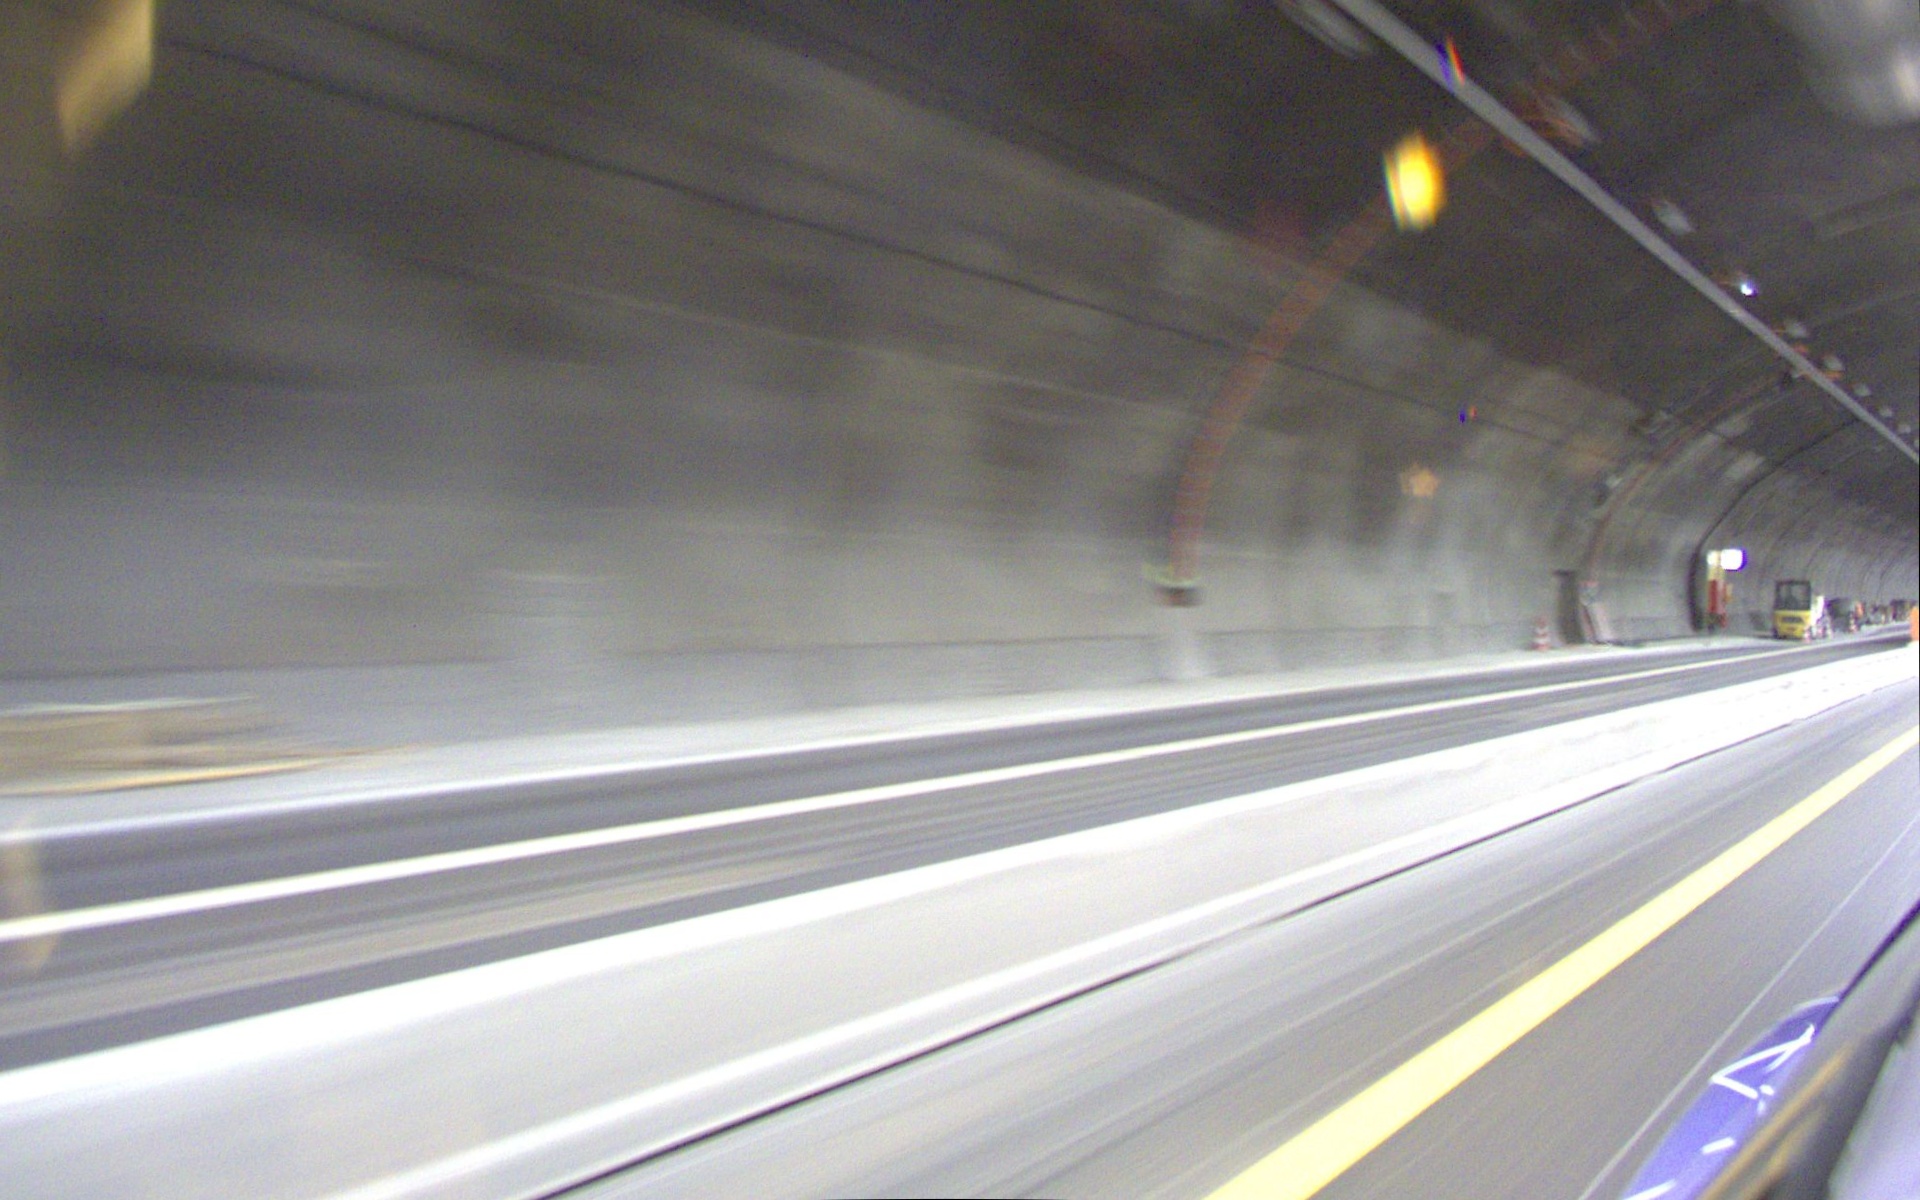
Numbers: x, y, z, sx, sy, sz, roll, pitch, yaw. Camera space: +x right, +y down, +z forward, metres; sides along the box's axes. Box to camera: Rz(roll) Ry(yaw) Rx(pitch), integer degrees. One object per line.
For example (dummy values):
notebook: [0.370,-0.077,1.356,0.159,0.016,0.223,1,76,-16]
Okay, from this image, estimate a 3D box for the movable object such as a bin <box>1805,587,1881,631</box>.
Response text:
movable object such as a bin: [39.200,0.382,44.883,4.423,1.695,1.865,0,4,-41]

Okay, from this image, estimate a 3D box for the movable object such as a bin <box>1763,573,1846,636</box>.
movable object such as a bin: [31.102,0.110,37.224,4.548,2.172,1.686,-1,1,-41]

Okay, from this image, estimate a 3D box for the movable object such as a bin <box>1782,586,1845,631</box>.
movable object such as a bin: [34.957,0.310,41.440,3.002,1.730,1.558,-1,1,-41]

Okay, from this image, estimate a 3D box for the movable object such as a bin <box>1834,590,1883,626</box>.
movable object such as a bin: [43.732,0.382,49.245,3.002,1.613,1.306,0,4,-41]
